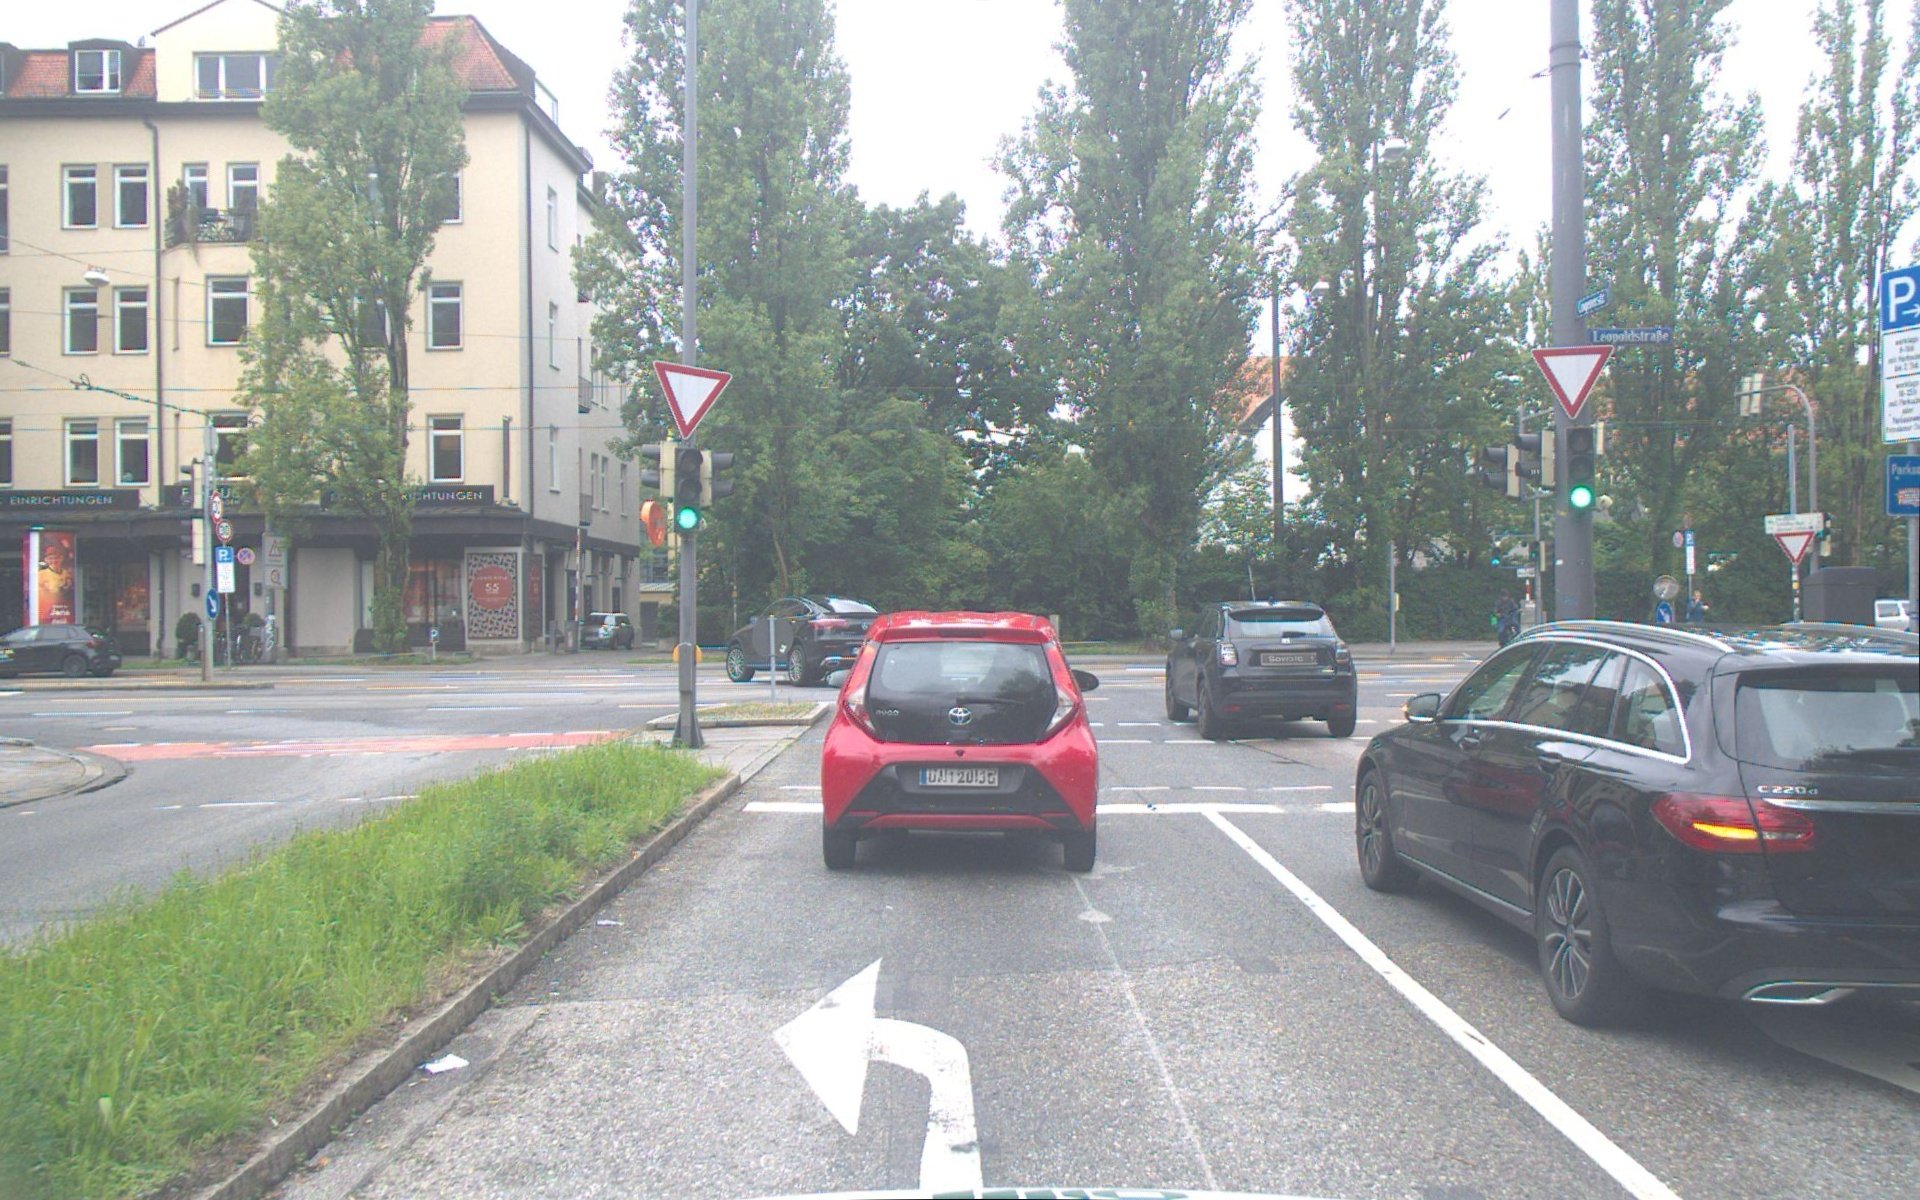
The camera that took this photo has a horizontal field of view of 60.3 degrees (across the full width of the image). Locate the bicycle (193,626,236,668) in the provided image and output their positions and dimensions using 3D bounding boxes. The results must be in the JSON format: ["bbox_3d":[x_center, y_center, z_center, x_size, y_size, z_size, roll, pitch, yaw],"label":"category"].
[{"bbox_3d":[-22.150,1.395,49.185,0.485,1.206,1.888,-1,0,-3],"label":"bicycle"}]

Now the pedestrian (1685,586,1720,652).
[{"bbox_3d":[19.089,0.488,42.511,0.689,1.692,0.549,0,-2,40],"label":"pedestrian"}]

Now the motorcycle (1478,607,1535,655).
[{"bbox_3d":[13.849,0.778,41.945,0.616,1.190,2.027,1,-1,-5],"label":"motorcycle"}]

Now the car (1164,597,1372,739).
[{"bbox_3d":[3.600,0.759,20.017,1.744,1.512,3.999,-1,-1,0],"label":"car"}]

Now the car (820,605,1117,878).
[{"bbox_3d":[0.083,0.774,10.685,1.595,1.465,3.377,-1,0,1],"label":"car"}]

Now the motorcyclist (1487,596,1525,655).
[{"bbox_3d":[13.845,0.643,41.961,0.606,1.468,0.881,1,-1,-5],"label":"motorcyclist"}]

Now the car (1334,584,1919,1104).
[{"bbox_3d":[3.111,0.761,7.398,1.825,1.576,4.703,1,0,0],"label":"car"}]

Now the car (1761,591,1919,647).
[{"bbox_3d":[25.840,0.551,48.082,4.251,1.512,1.786,-1,-1,-2],"label":"car"}]

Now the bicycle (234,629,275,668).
[{"bbox_3d":[-20.949,1.420,49.169,0.485,1.100,1.888,-1,0,-3],"label":"bicycle"}]

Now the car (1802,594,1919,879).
[{"bbox_3d":[6.177,0.738,8.138,1.793,1.576,4.555,-1,0,1],"label":"car"}]

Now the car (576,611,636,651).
[{"bbox_3d":[-13.873,1.192,64.974,1.691,1.467,3.997,-1,0,-3],"label":"car"}]

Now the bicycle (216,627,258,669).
[{"bbox_3d":[-21.463,1.404,49.113,0.485,1.206,1.888,-1,0,-3],"label":"bicycle"}]

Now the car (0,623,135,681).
[{"bbox_3d":[-24.735,1.406,44.733,3.908,1.492,1.804,-1,-1,-4],"label":"car"}]

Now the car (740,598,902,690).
[{"bbox_3d":[-2.708,0.782,31.161,1.712,1.576,4.543,-1,0,-23],"label":"car"}]
